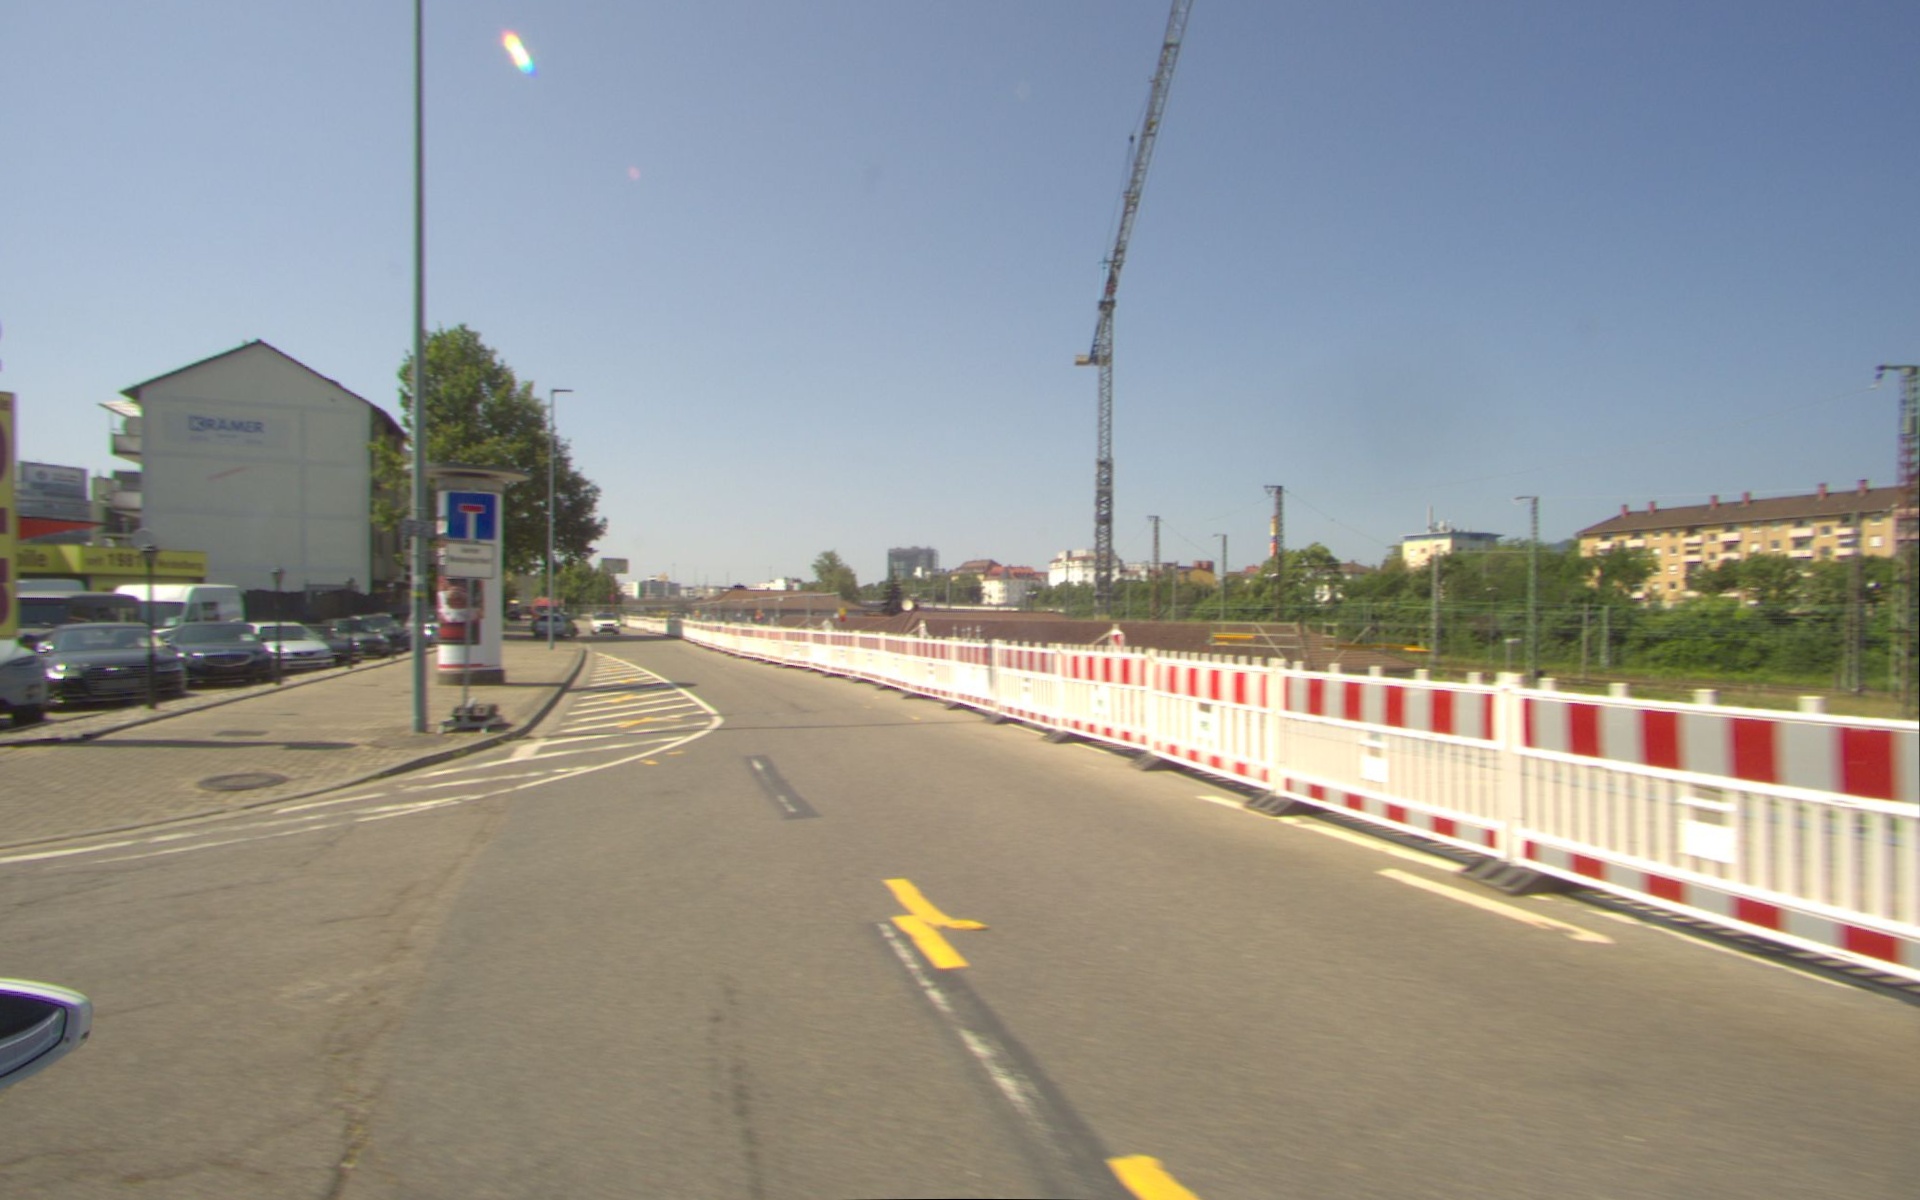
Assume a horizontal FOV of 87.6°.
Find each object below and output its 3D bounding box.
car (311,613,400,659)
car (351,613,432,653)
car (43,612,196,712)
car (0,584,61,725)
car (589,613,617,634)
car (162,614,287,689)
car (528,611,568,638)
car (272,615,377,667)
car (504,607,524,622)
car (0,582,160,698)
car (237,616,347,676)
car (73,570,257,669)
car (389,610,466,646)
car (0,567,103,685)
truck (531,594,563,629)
[{"bbox_3d":[-21.923,1.284,36.253,3.956,1.492,1.658,-2,1,42],"label":"car"},{"bbox_3d":[-23.116,1.330,40.659,3.956,1.492,1.658,-2,1,42],"label":"car"},{"bbox_3d":[-15.038,1.031,17.843,1.823,1.492,3.962,-3,1,-43],"label":"car"},{"bbox_3d":[-13.816,0.805,13.195,4.605,1.728,1.969,-4,-2,36],"label":"car"},{"bbox_3d":[-25.272,1.662,70.874,1.694,1.434,4.067,0,-2,-22],"label":"car"},{"bbox_3d":[-16.912,1.119,22.947,1.823,1.492,3.963,-3,1,-43],"label":"car"},{"bbox_3d":[-24.788,1.457,60.298,1.842,1.518,4.023,0,0,-17],"label":"car"},{"bbox_3d":[-20.298,1.291,31.953,3.953,1.492,1.659,-2,1,40],"label":"car"},{"bbox_3d":[-57.830,1.895,129.912,1.910,1.856,3.917,4,-3,-18],"label":"car"},{"bbox_3d":[-20.580,0.904,22.626,2.213,2.380,4.818,0,-2,-16],"label":"car"},{"bbox_3d":[-18.863,1.262,28.199,3.959,1.492,1.768,-2,1,45],"label":"car"},{"bbox_3d":[-22.574,0.622,28.782,2.215,2.460,5.708,4,-3,-19],"label":"car"},{"bbox_3d":[-23.575,1.229,44.283,3.956,1.492,1.766,-2,1,42],"label":"car"},{"bbox_3d":[-23.967,0.640,24.258,2.242,2.793,6.148,0,-1,-13],"label":"car"},{"bbox_3d":[-32.198,0.944,78.220,2.208,2.682,5.666,0,-1,-22],"label":"truck"}]
